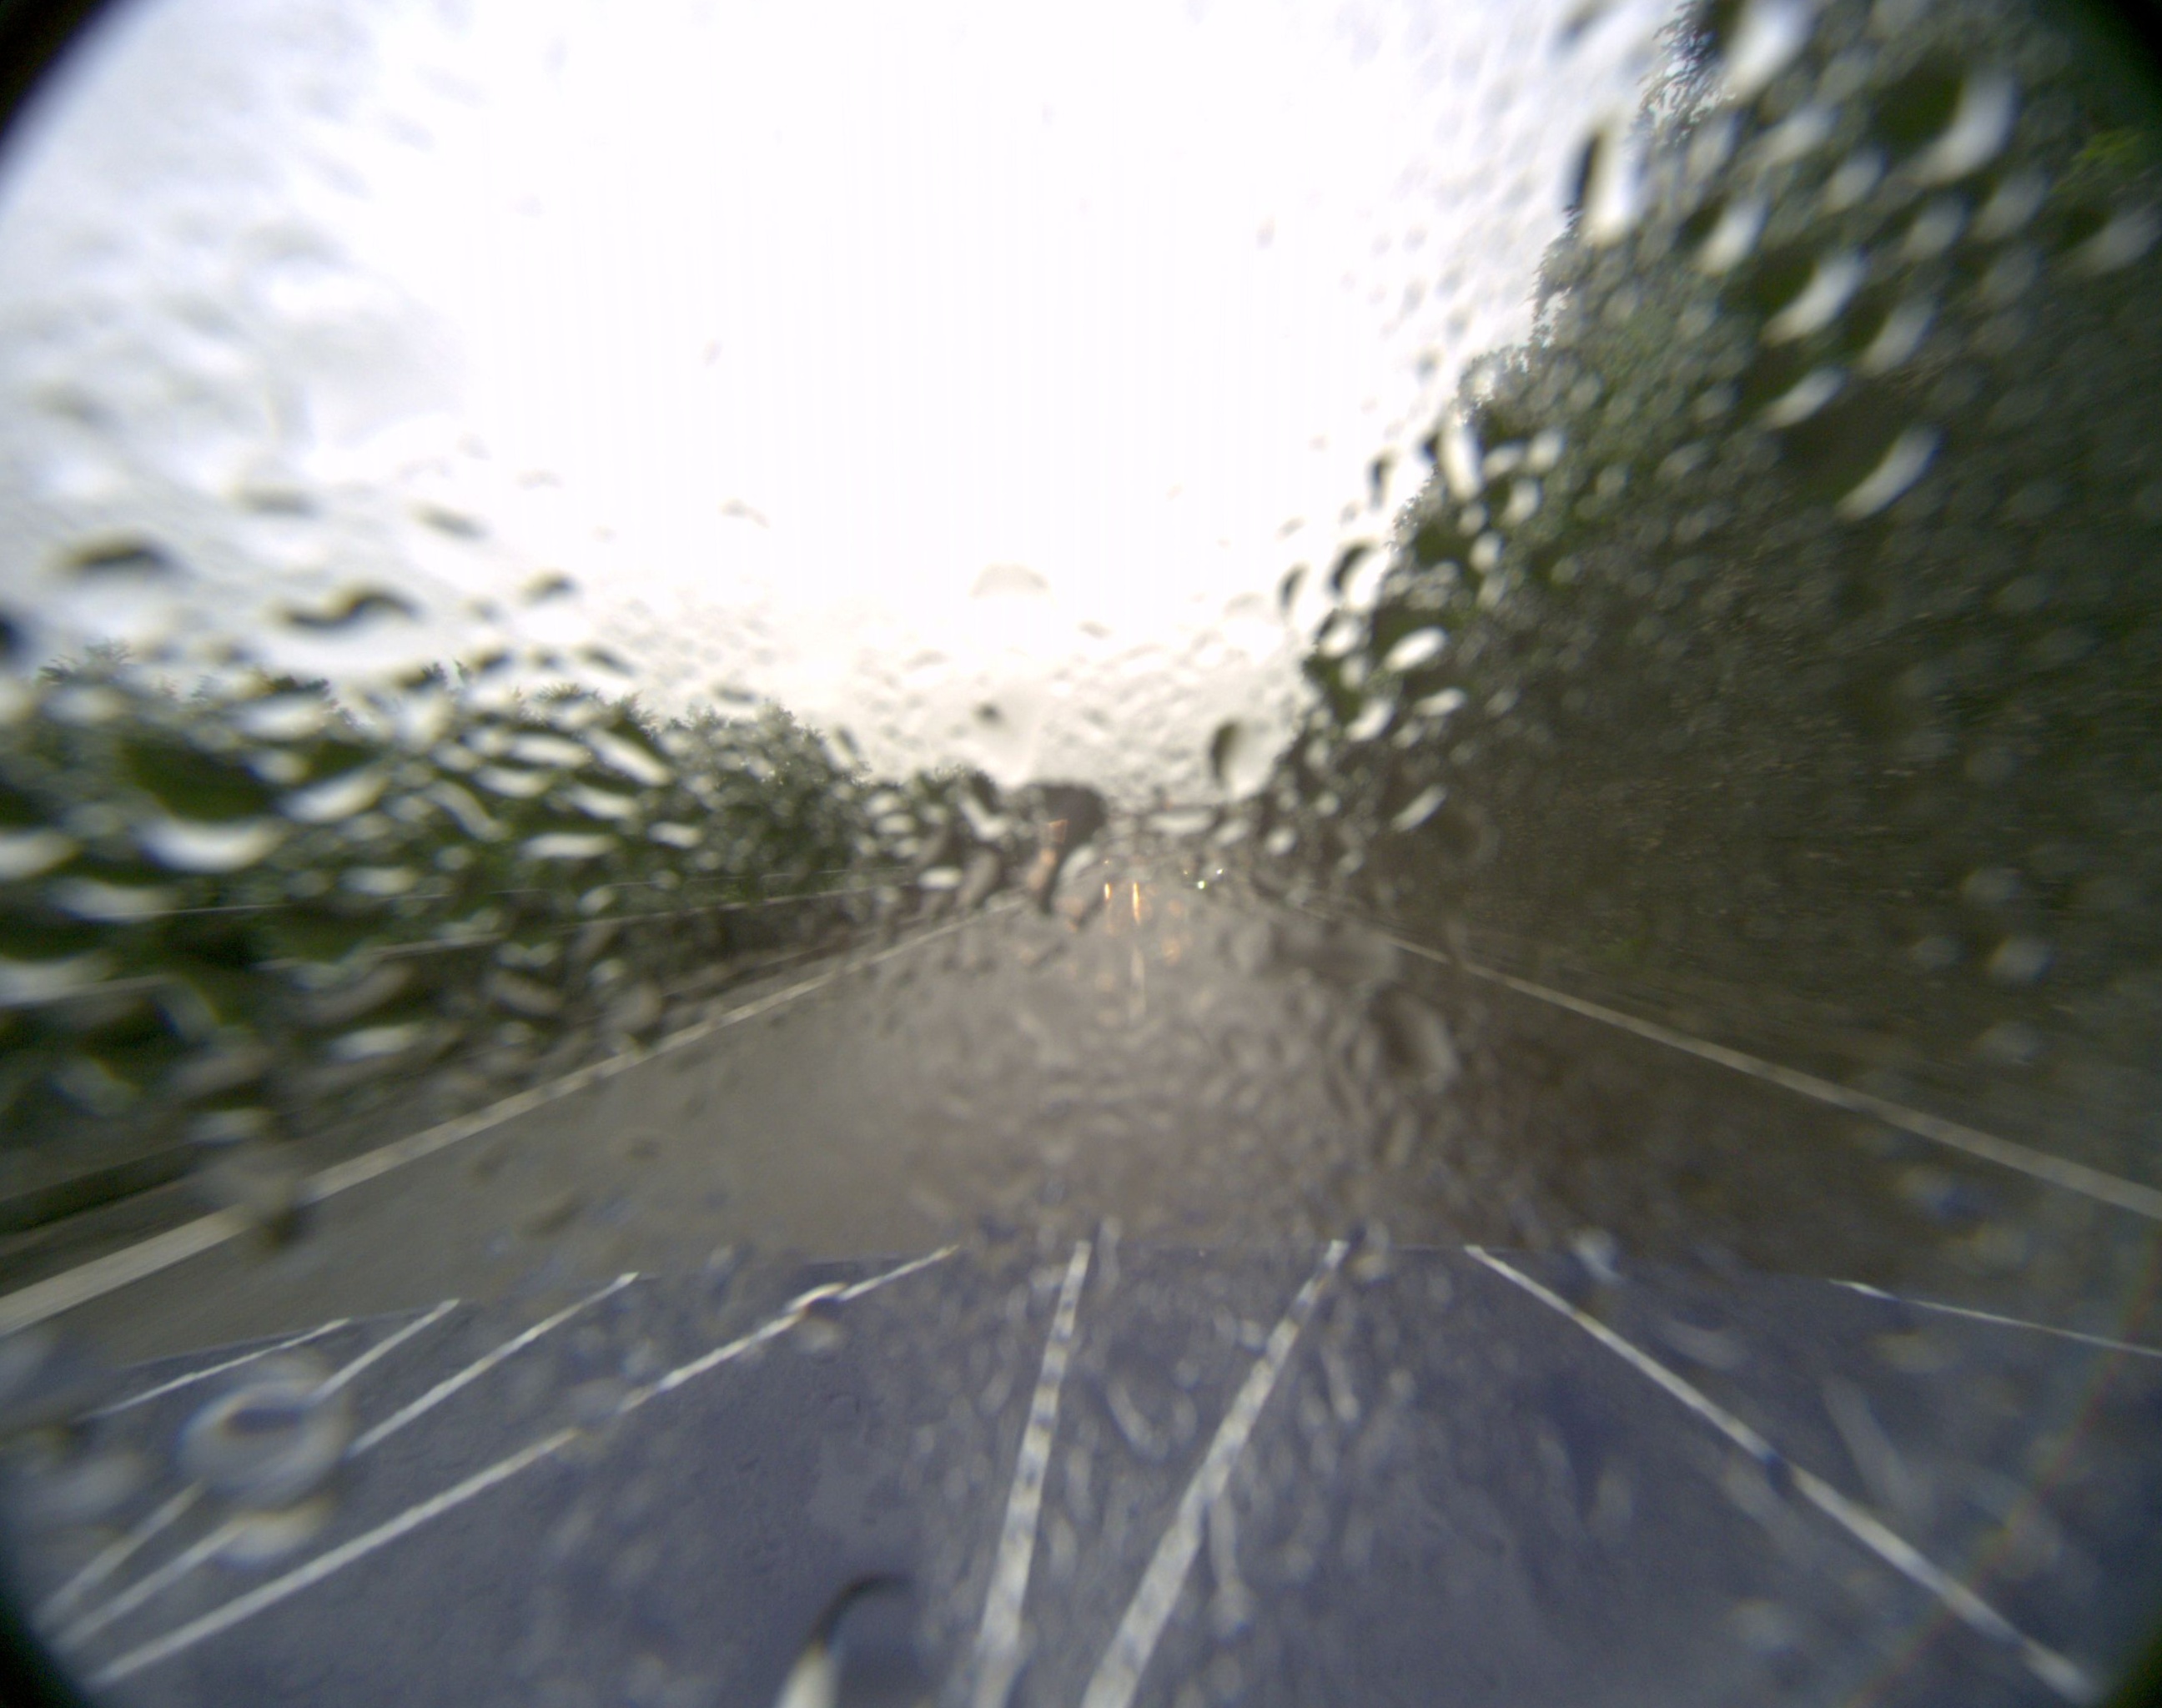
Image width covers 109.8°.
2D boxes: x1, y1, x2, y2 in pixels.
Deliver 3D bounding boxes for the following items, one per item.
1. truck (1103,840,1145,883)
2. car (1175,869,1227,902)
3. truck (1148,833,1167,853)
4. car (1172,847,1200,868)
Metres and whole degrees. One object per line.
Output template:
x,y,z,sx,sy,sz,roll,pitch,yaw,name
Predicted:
2.853,0.428,48.412,2.107,2.481,8.006,0,0,7,truck
5.304,1.361,34.056,1.827,1.375,4.001,0,-1,2,car
16.993,-2.420,167.920,2.807,4.280,6.473,-1,1,17,truck
7.578,0.210,54.626,1.826,1.375,4.002,-3,0,8,car
